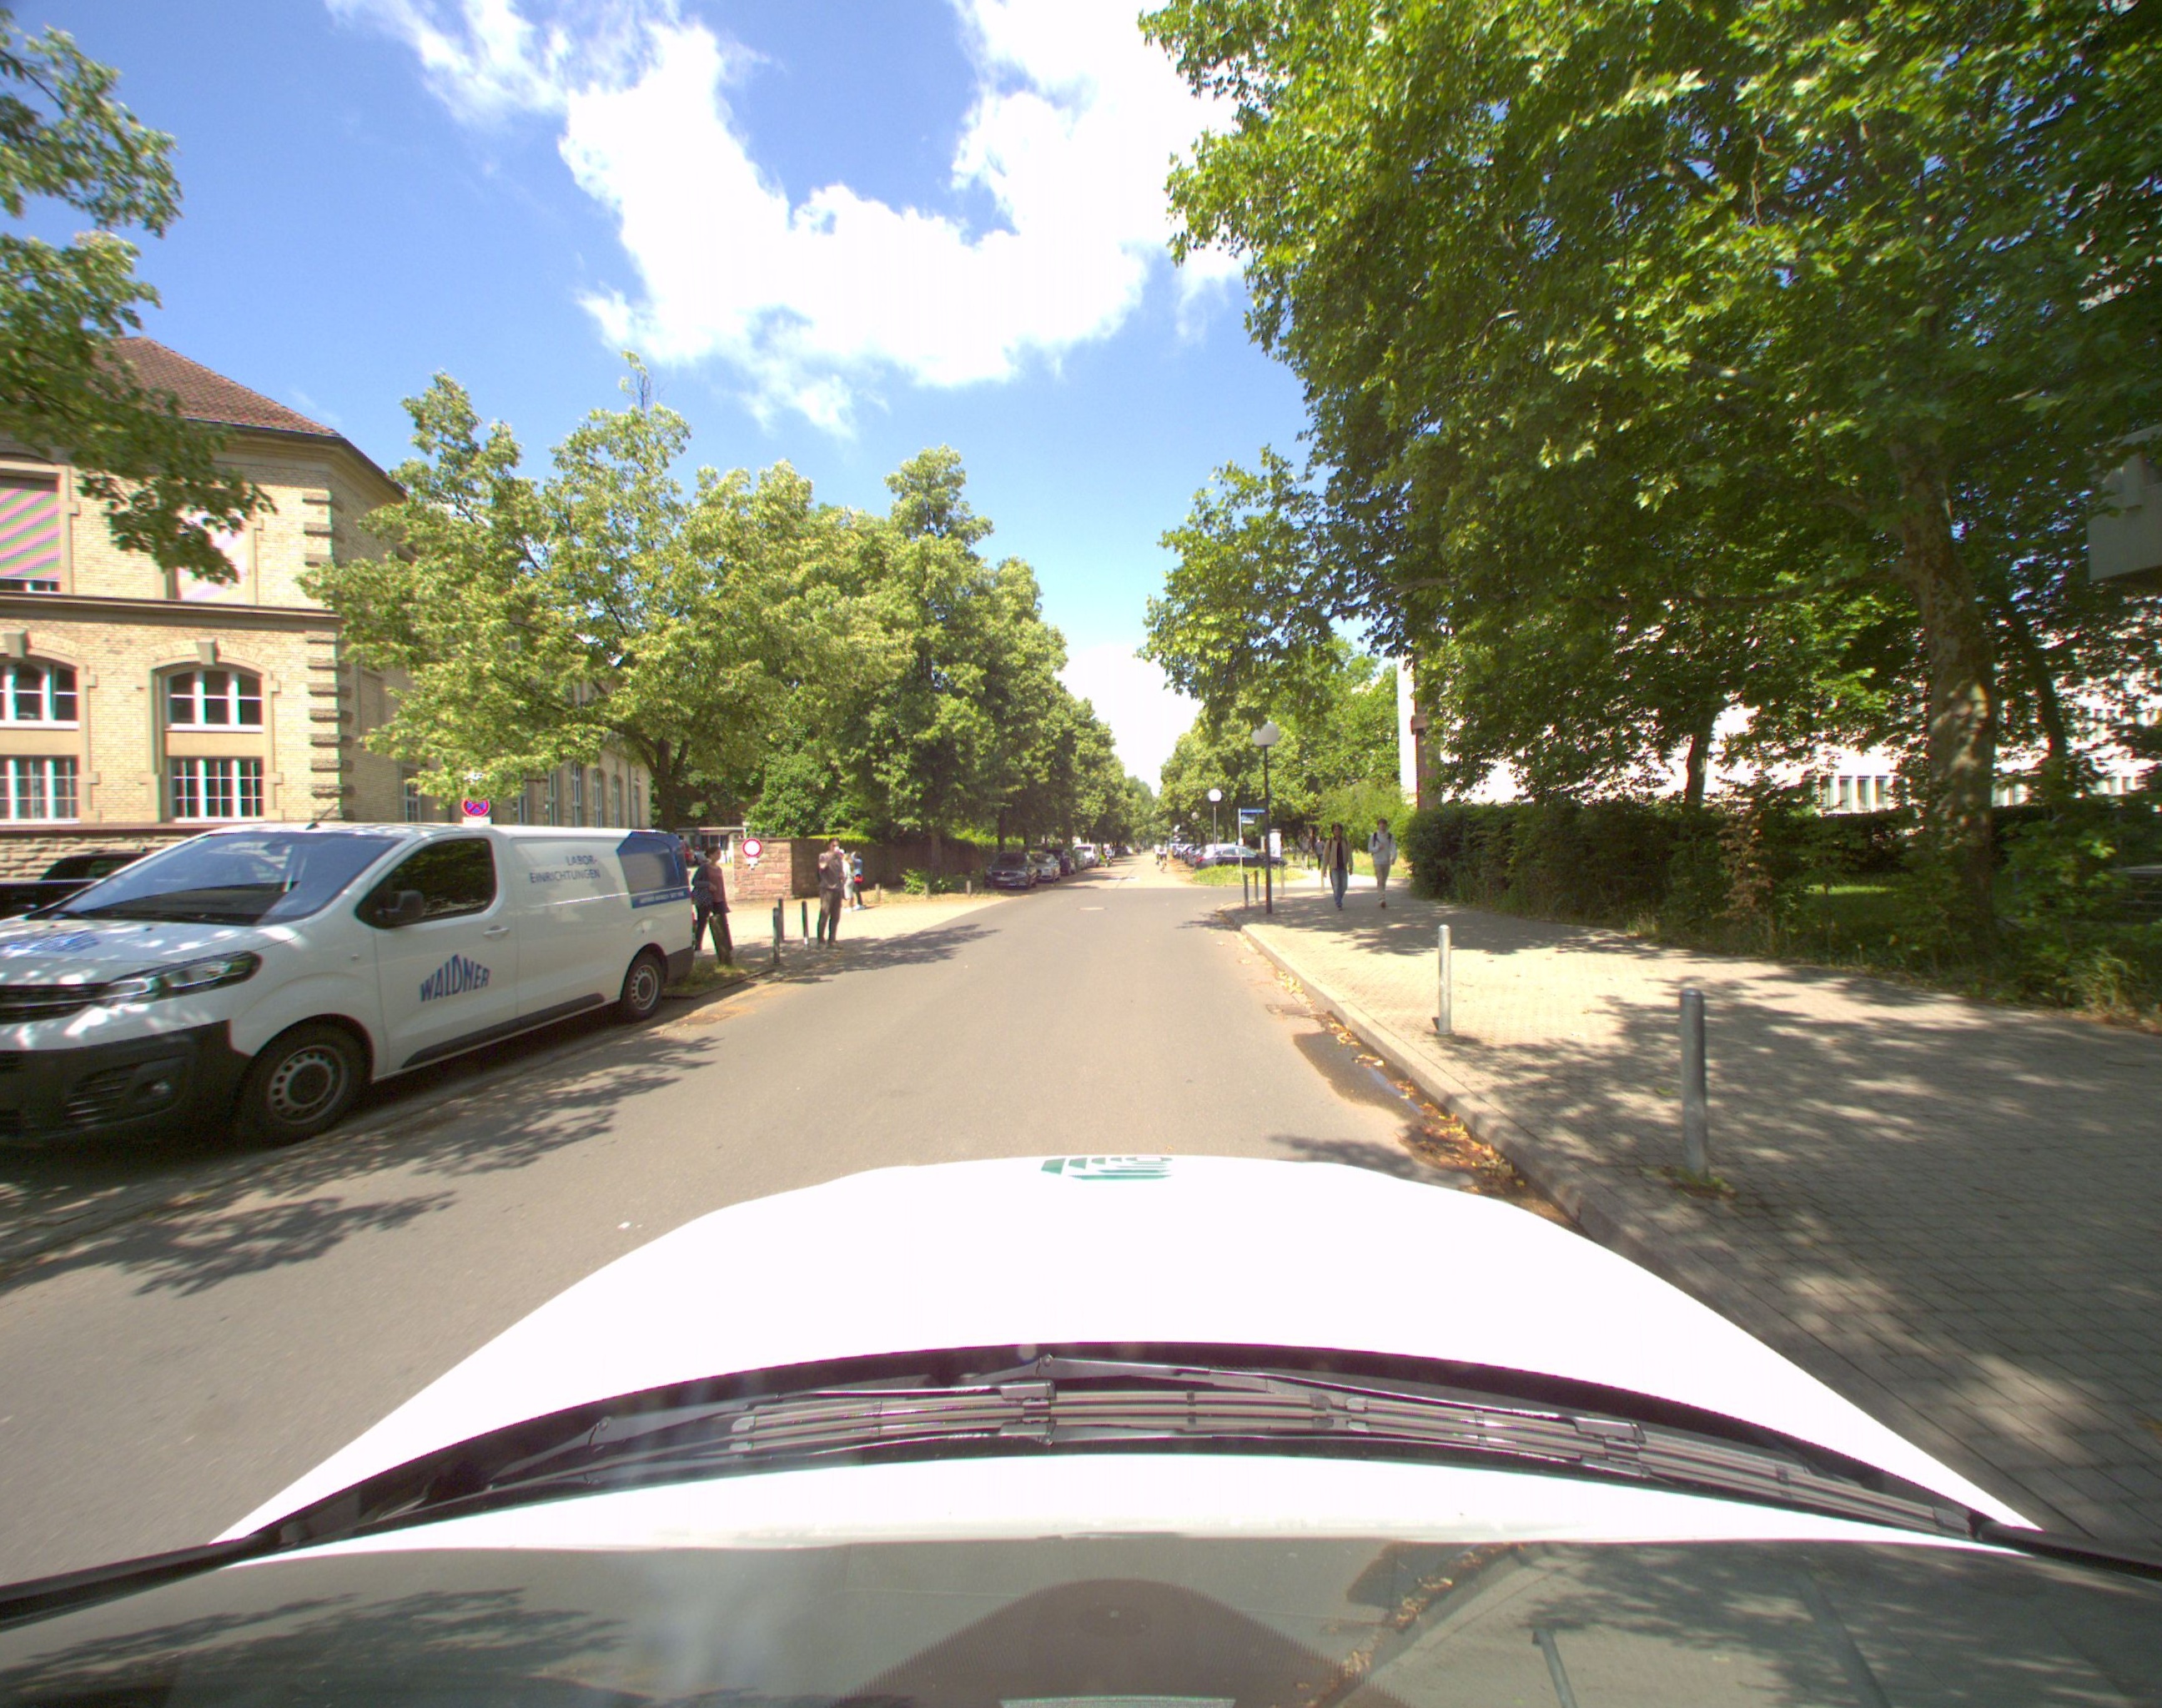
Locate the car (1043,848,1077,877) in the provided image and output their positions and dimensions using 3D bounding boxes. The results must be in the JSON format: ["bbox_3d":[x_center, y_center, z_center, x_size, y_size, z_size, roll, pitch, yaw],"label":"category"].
[{"bbox_3d":[-1.247,0.473,49.398,1.608,1.679,4.004,-1,0,4],"label":"car"}]

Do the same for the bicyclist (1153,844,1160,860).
[{"bbox_3d":[6.251,-0.197,67.288,0.520,1.296,0.611,-1,0,4],"label":"bicyclist"}]

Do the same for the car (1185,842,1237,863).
[{"bbox_3d":[11.027,-0.109,69.192,4.237,1.588,1.922,-2,0,5],"label":"car"}]

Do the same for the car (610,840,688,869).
[{"bbox_3d":[-25.771,0.015,48.738,3.868,1.621,1.744,-1,0,-21],"label":"car"}]

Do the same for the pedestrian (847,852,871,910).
[{"bbox_3d":[-6.189,0.734,22.720,0.497,1.585,0.489,-1,0,-30],"label":"pedestrian"}]

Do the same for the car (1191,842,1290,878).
[{"bbox_3d":[7.611,0.293,39.259,4.464,1.525,1.813,-2,0,4],"label":"car"}]

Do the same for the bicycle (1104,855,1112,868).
[{"bbox_3d":[2.151,0.610,64.317,0.575,1.001,1.425,-1,0,4],"label":"bicycle"}]

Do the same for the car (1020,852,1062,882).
[{"bbox_3d":[-1.936,0.623,40.727,1.608,1.387,4.004,-1,0,4],"label":"car"}]

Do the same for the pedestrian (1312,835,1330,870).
[{"bbox_3d":[12.349,-0.087,41.939,0.816,1.755,0.630,-1,0,10],"label":"pedestrian"}]

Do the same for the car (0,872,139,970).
[{"bbox_3d":[-16.307,0.992,11.763,1.822,1.324,3.745,-1,0,-18],"label":"car"}]

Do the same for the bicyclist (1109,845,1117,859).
[{"bbox_3d":[2.902,-0.180,74.028,0.605,1.296,0.611,-1,0,4],"label":"bicyclist"}]

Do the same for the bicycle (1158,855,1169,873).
[{"bbox_3d":[4.977,0.597,49.232,0.611,1.001,1.425,-1,0,4],"label":"bicycle"}]

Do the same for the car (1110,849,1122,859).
[{"bbox_3d":[4.828,0.029,112.992,1.609,1.365,4.003,-1,0,3],"label":"car"}]

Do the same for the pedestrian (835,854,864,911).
[{"bbox_3d":[-6.243,0.759,21.987,0.588,1.527,0.488,-1,0,-37],"label":"pedestrian"}]

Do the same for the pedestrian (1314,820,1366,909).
[{"bbox_3d":[5.305,0.210,16.725,0.817,1.755,0.841,-1,0,4],"label":"pedestrian"}]

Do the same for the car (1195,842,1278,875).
[{"bbox_3d":[8.361,0.244,44.129,4.237,1.588,1.813,-2,0,4],"label":"car"}]

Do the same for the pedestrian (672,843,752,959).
[{"bbox_3d":[-5.649,0.696,12.509,0.734,1.712,0.795,-1,0,18],"label":"pedestrian"}]

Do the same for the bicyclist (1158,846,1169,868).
[{"bbox_3d":[4.961,0.158,49.216,0.607,1.296,0.611,-1,0,4],"label":"bicyclist"}]

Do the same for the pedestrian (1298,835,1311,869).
[{"bbox_3d":[11.605,-0.091,42.314,0.597,1.755,0.631,-1,0,11],"label":"pedestrian"}]

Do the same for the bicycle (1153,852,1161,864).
[{"bbox_3d":[6.289,0.305,67.272,0.611,1.001,1.425,-1,0,4],"label":"bicycle"}]

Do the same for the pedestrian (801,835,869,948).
[{"bbox_3d":[-4.171,0.619,13.847,0.718,1.857,0.795,-1,0,21],"label":"pedestrian"}]

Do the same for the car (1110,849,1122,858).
[{"bbox_3d":[5.299,-0.123,122.699,1.609,1.365,4.566,-1,0,3],"label":"car"}]

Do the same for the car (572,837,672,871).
[{"bbox_3d":[-22.374,-0.004,39.774,4.118,1.517,1.738,-2,0,-34],"label":"car"}]

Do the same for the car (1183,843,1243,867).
[{"bbox_3d":[9.754,0.078,60.395,4.237,1.588,1.922,-2,0,5],"label":"car"}]

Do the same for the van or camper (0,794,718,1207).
[{"bbox_3d":[-5.237,0.672,6.541,1.945,1.923,5.425,0,0,3],"label":"van or camper"}]

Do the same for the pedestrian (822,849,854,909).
[{"bbox_3d":[-6.838,0.688,22.939,0.632,1.663,0.596,-1,0,-44],"label":"pedestrian"}]

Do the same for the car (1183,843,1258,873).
[{"bbox_3d":[8.345,0.233,48.951,4.237,1.588,1.813,-2,0,4],"label":"car"}]

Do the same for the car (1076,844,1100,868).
[{"bbox_3d":[0.566,0.151,64.643,1.608,1.815,4.004,-1,0,4],"label":"car"}]

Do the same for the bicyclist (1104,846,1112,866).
[{"bbox_3d":[2.142,0.162,64.271,0.561,1.498,0.828,-1,0,4],"label":"bicyclist"}]

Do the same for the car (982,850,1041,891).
[{"bbox_3d":[-2.756,0.624,33.117,1.752,1.522,4.116,-1,0,4],"label":"car"}]

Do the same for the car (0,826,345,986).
[{"bbox_3d":[-13.916,0.644,12.339,2.182,1.925,5.153,-1,0,-19],"label":"car"}]

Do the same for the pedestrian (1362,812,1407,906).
[{"bbox_3d":[6.208,0.102,16.702,0.668,1.872,0.794,-1,0,8],"label":"pedestrian"}]

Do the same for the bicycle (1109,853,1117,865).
[{"bbox_3d":[2.916,0.466,74.089,0.611,1.001,1.425,-1,0,4],"label":"bicycle"}]
